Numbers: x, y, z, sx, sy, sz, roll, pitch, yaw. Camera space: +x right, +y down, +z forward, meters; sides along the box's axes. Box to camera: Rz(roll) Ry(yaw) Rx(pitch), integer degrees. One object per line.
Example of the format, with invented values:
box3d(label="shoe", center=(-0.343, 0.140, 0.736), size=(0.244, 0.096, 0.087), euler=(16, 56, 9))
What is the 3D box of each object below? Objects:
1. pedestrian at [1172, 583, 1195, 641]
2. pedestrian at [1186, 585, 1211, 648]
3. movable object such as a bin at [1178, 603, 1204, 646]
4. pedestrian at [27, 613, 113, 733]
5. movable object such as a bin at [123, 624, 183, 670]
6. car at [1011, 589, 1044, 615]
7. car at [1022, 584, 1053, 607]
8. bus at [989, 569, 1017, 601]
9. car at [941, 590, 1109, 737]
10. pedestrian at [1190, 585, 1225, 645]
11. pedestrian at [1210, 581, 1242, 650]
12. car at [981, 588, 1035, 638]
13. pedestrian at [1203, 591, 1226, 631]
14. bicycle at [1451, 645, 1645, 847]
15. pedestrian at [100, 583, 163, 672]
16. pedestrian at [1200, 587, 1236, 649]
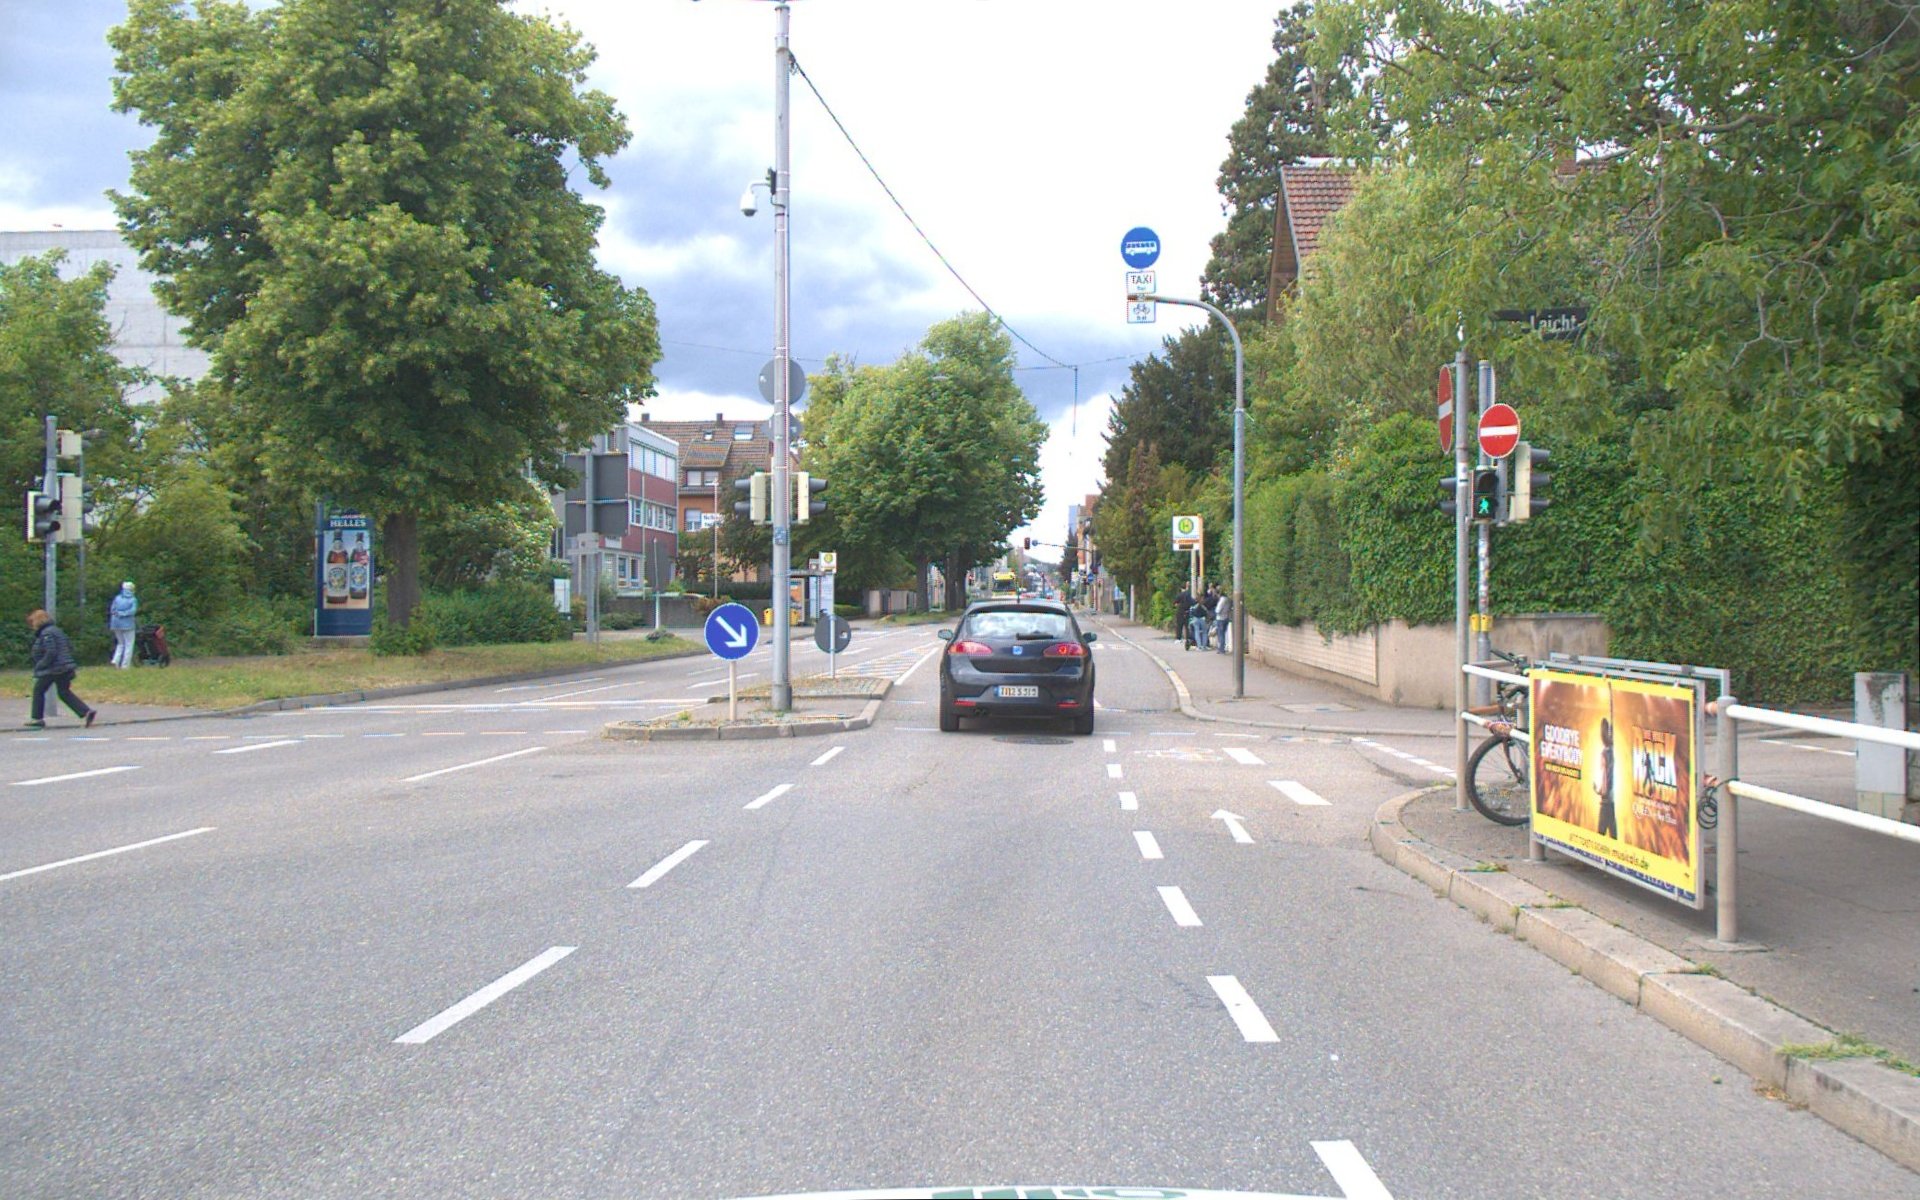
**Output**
box3d(label="pedestrian", center=(6.791, 0.356, 50.190), size=(0.573, 1.741, 0.530), euler=(-2, 0, 2))
box3d(label="pedestrian", center=(6.069, 0.414, 42.067), size=(0.538, 1.543, 0.362), euler=(-3, 1, 12))
box3d(label="movable object such as a bin", center=(5.999, 0.638, 42.927), size=(0.432, 1.076, 0.567), euler=(-4, 1, 29))
box3d(label="pedestrian", center=(-11.064, 0.905, 20.576), size=(0.759, 1.432, 0.599), euler=(2, 1, -11))
box3d(label="movable object such as a bin", center=(-14.736, 0.854, 30.216), size=(0.642, 0.812, 0.897), euler=(-1, 0, 0))
box3d(label="car", center=(4.157, 0.100, 102.449), size=(1.901, 1.507, 4.253), euler=(-1, 1, 0))
box3d(label="car", center=(5.915, -0.328, 125.459), size=(1.951, 1.713, 4.003), euler=(-1, 0, 8))
box3d(label="bus", center=(4.412, -1.542, 169.114), size=(2.809, 3.191, 6.399), euler=(-1, 1, 2))
box3d(label="car", center=(0.657, 0.653, 19.141), size=(1.723, 1.474, 3.714), euler=(2, 1, -1))
box3d(label="pedestrian", center=(6.562, 0.391, 43.858), size=(0.764, 1.526, 0.605), euler=(-2, 0, -3))
box3d(label="pedestrian", center=(6.280, 0.369, 39.000), size=(0.533, 1.582, 0.470), euler=(-4, 0, -6))
box3d(label="car", center=(1.788, 0.446, 60.614), size=(1.781, 1.729, 4.255), euler=(-1, 1, 4))
box3d(label="pedestrian", center=(6.486, 0.276, 42.193), size=(0.445, 0.981, 0.383), euler=(-4, 1, -3))
box3d(label="bicycle", center=(3.417, 0.814, 9.739), size=(0.615, 1.046, 1.504), euler=(0, 0, 0))
box3d(label="pedestrian", center=(-14.746, 0.485, 29.457), size=(0.642, 1.549, 0.923), euler=(-1, 0, 0))
box3d(label="pedestrian", center=(6.304, 0.443, 40.453), size=(0.610, 1.452, 0.510), euler=(-3, 1, 41))
